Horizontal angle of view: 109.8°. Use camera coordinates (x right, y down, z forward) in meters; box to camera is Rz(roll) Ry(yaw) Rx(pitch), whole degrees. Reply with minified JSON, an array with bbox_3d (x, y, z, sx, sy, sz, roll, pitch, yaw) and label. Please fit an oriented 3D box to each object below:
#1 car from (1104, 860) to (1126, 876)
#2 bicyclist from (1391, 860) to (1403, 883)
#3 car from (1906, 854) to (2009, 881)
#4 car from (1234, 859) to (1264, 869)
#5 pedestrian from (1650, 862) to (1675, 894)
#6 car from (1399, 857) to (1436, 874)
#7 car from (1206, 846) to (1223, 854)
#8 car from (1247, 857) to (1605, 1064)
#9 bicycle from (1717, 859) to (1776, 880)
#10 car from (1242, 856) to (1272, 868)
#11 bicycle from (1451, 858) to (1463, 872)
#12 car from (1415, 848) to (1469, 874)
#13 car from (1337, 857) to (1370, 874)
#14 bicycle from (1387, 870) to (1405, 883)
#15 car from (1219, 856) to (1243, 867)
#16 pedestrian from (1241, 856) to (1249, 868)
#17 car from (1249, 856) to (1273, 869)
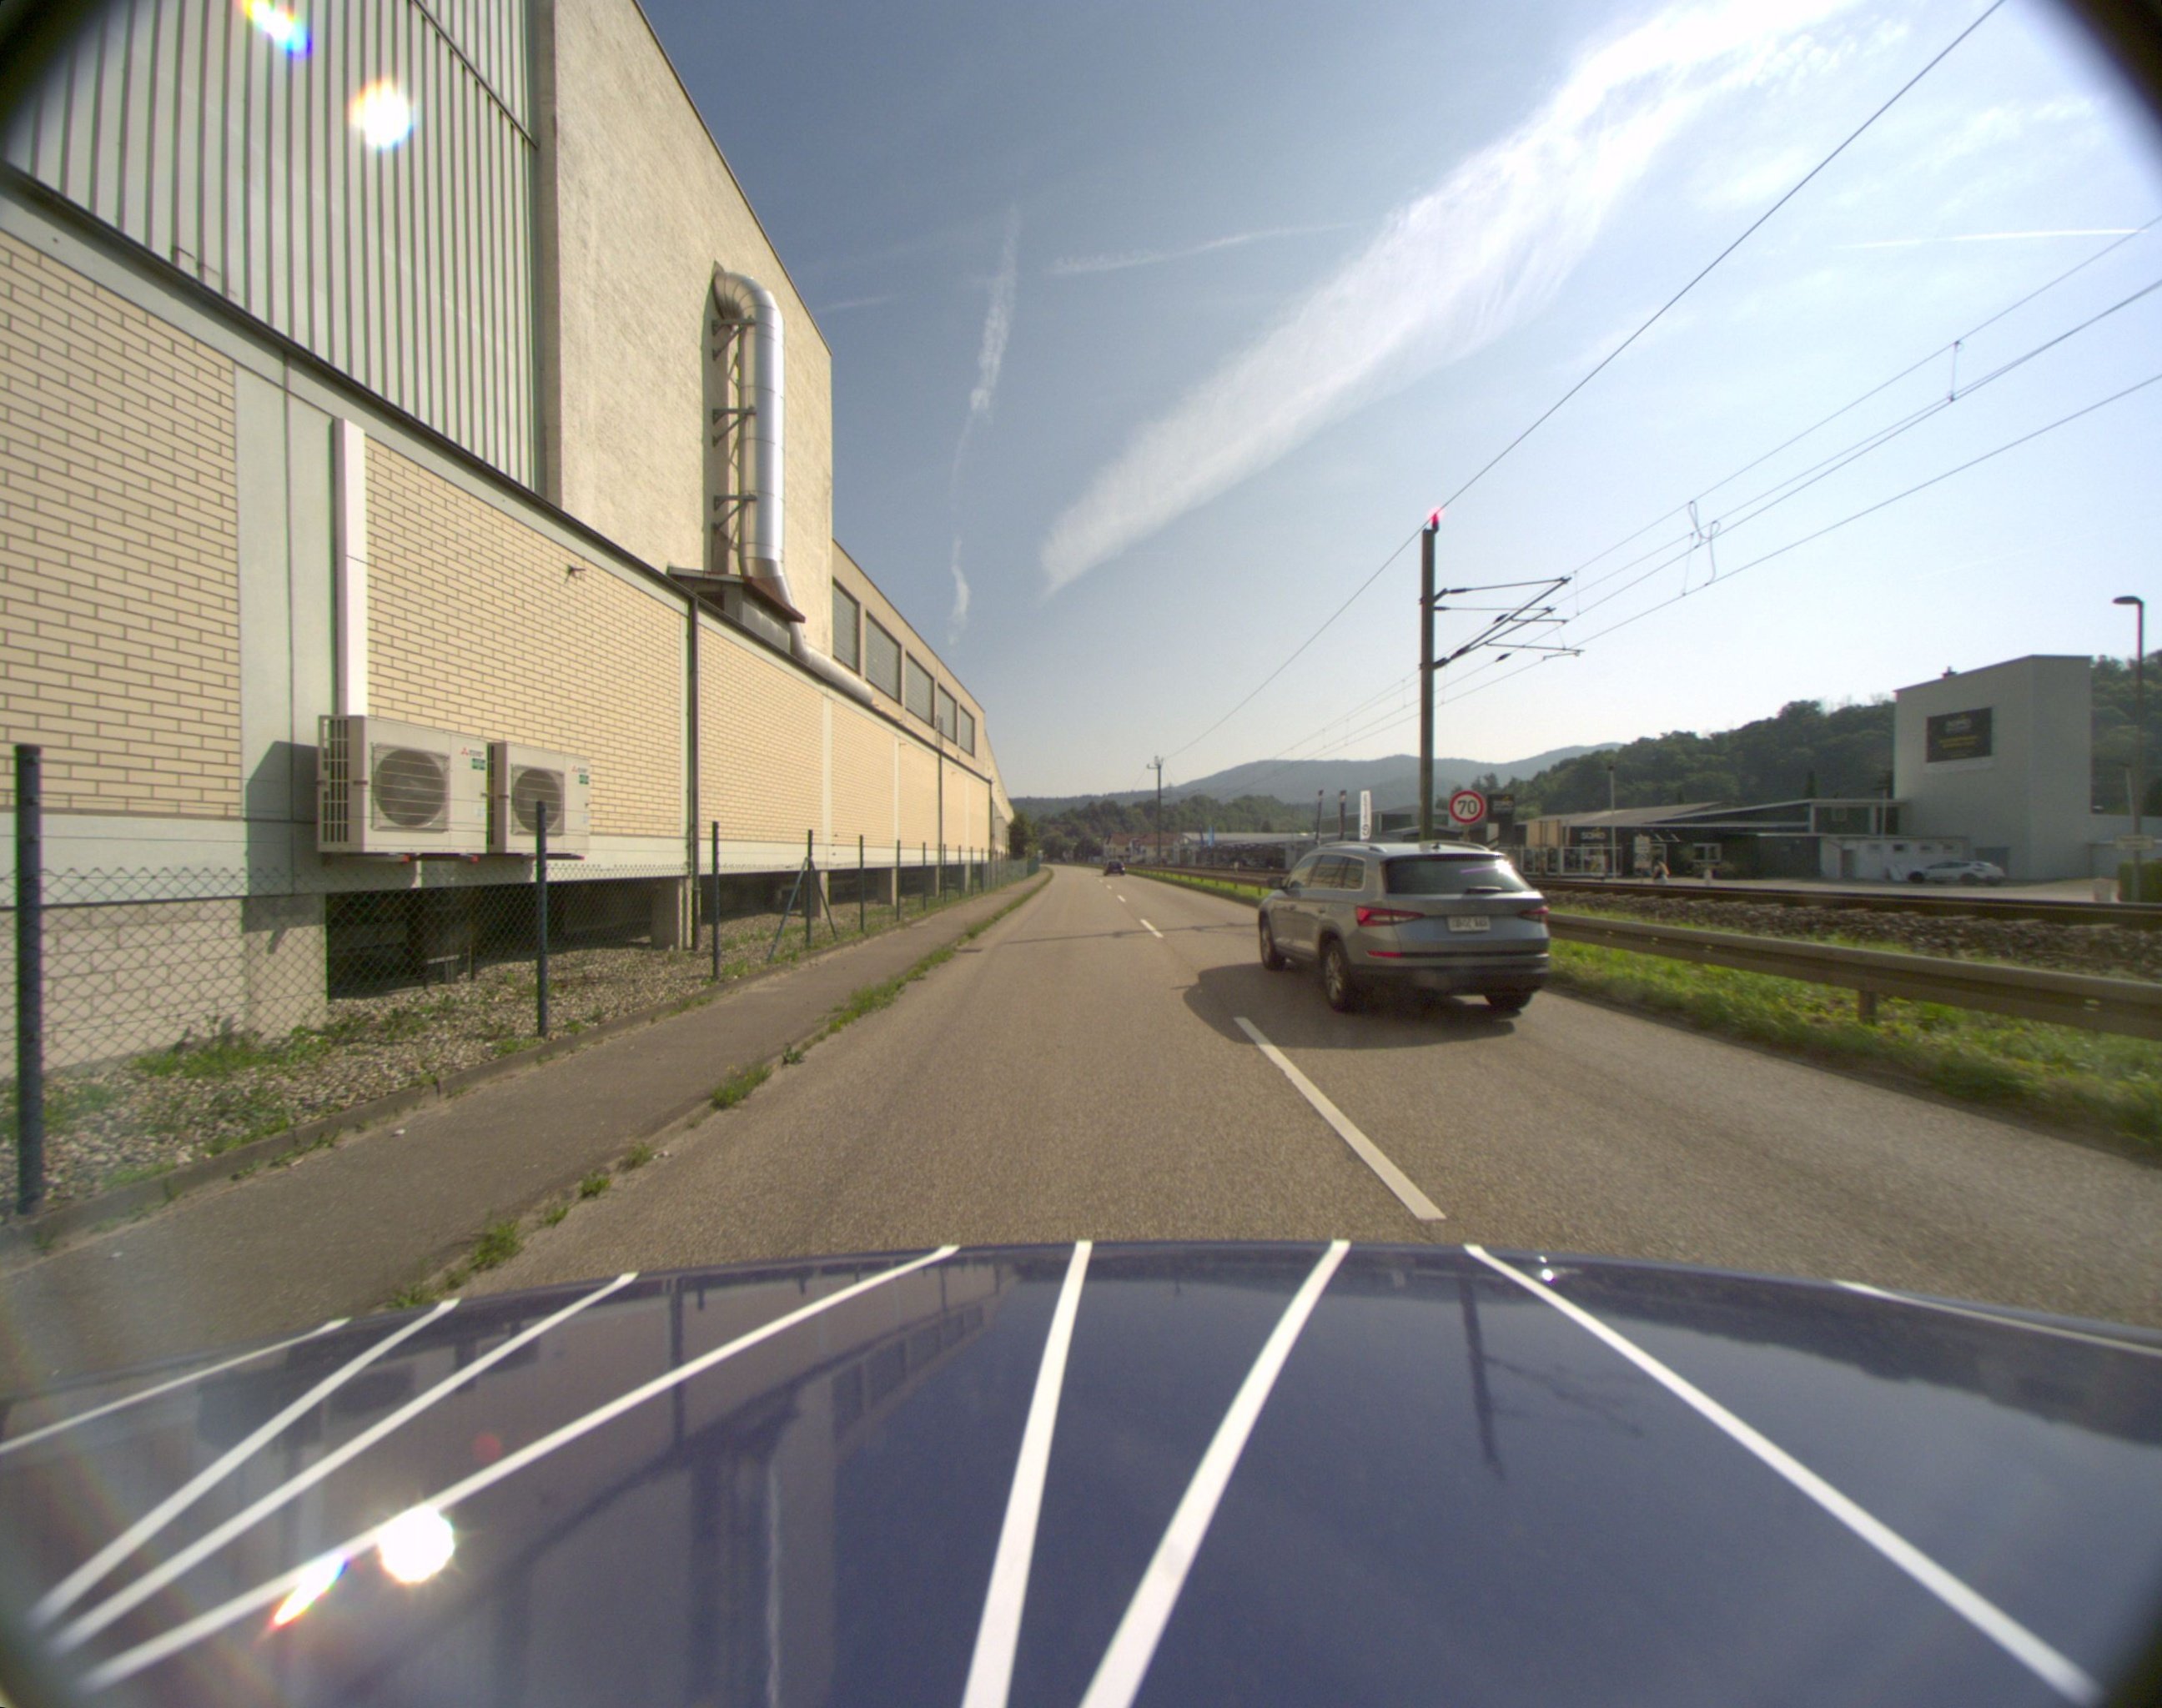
[{"bbox_3d":[3.029,1.245,68.345,1.768,1.394,4.119,-1,0,-1],"label":"car"},{"bbox_3d":[23.470,1.297,56.489,0.534,1.637,0.831,0,0,-4],"label":"bicyclist"},{"bbox_3d":[53.915,0.824,46.857,1.715,1.589,3.981,0,0,0],"label":"car"},{"bbox_3d":[25.188,1.530,114.047,3.968,1.317,1.501,-3,0,-5],"label":"car"},{"bbox_3d":[25.038,1.030,32.722,0.575,1.324,0.674,0,0,-7],"label":"pedestrian"},{"bbox_3d":[35.676,1.219,80.737,1.873,1.654,3.997,0,1,-5],"label":"car"},{"bbox_3d":[24.027,-0.682,136.837,1.842,1.377,4.531,0,0,26],"label":"car"},{"bbox_3d":[3.246,0.856,8.337,1.911,1.591,4.570,-1,0,1],"label":"car"},{"bbox_3d":[46.035,1.064,52.545,3.445,1.281,0.989,-1,1,-6],"label":"bicycle"},{"bbox_3d":[26.024,1.227,112.376,3.968,1.519,1.662,-3,0,-5],"label":"car"},{"bbox_3d":[32.436,0.928,65.590,0.728,1.124,2.327,0,0,32],"label":"bicycle"},{"bbox_3d":[38.847,0.708,81.997,2.380,2.618,6.156,0,1,-5],"label":"car"},{"bbox_3d":[28.952,1.219,80.900,1.523,1.679,4.368,-2,0,-6],"label":"car"},{"bbox_3d":[23.462,1.661,56.598,0.547,0.917,1.709,0,0,-4],"label":"bicycle"},{"bbox_3d":[24.858,1.239,125.839,4.279,1.519,1.842,-3,0,-44],"label":"car"},{"bbox_3d":[23.452,1.094,108.670,0.833,1.724,0.806,1,0,35],"label":"pedestrian"},{"bbox_3d":[25.586,1.180,108.176,1.659,1.613,4.039,-3,0,39],"label":"car"}]
